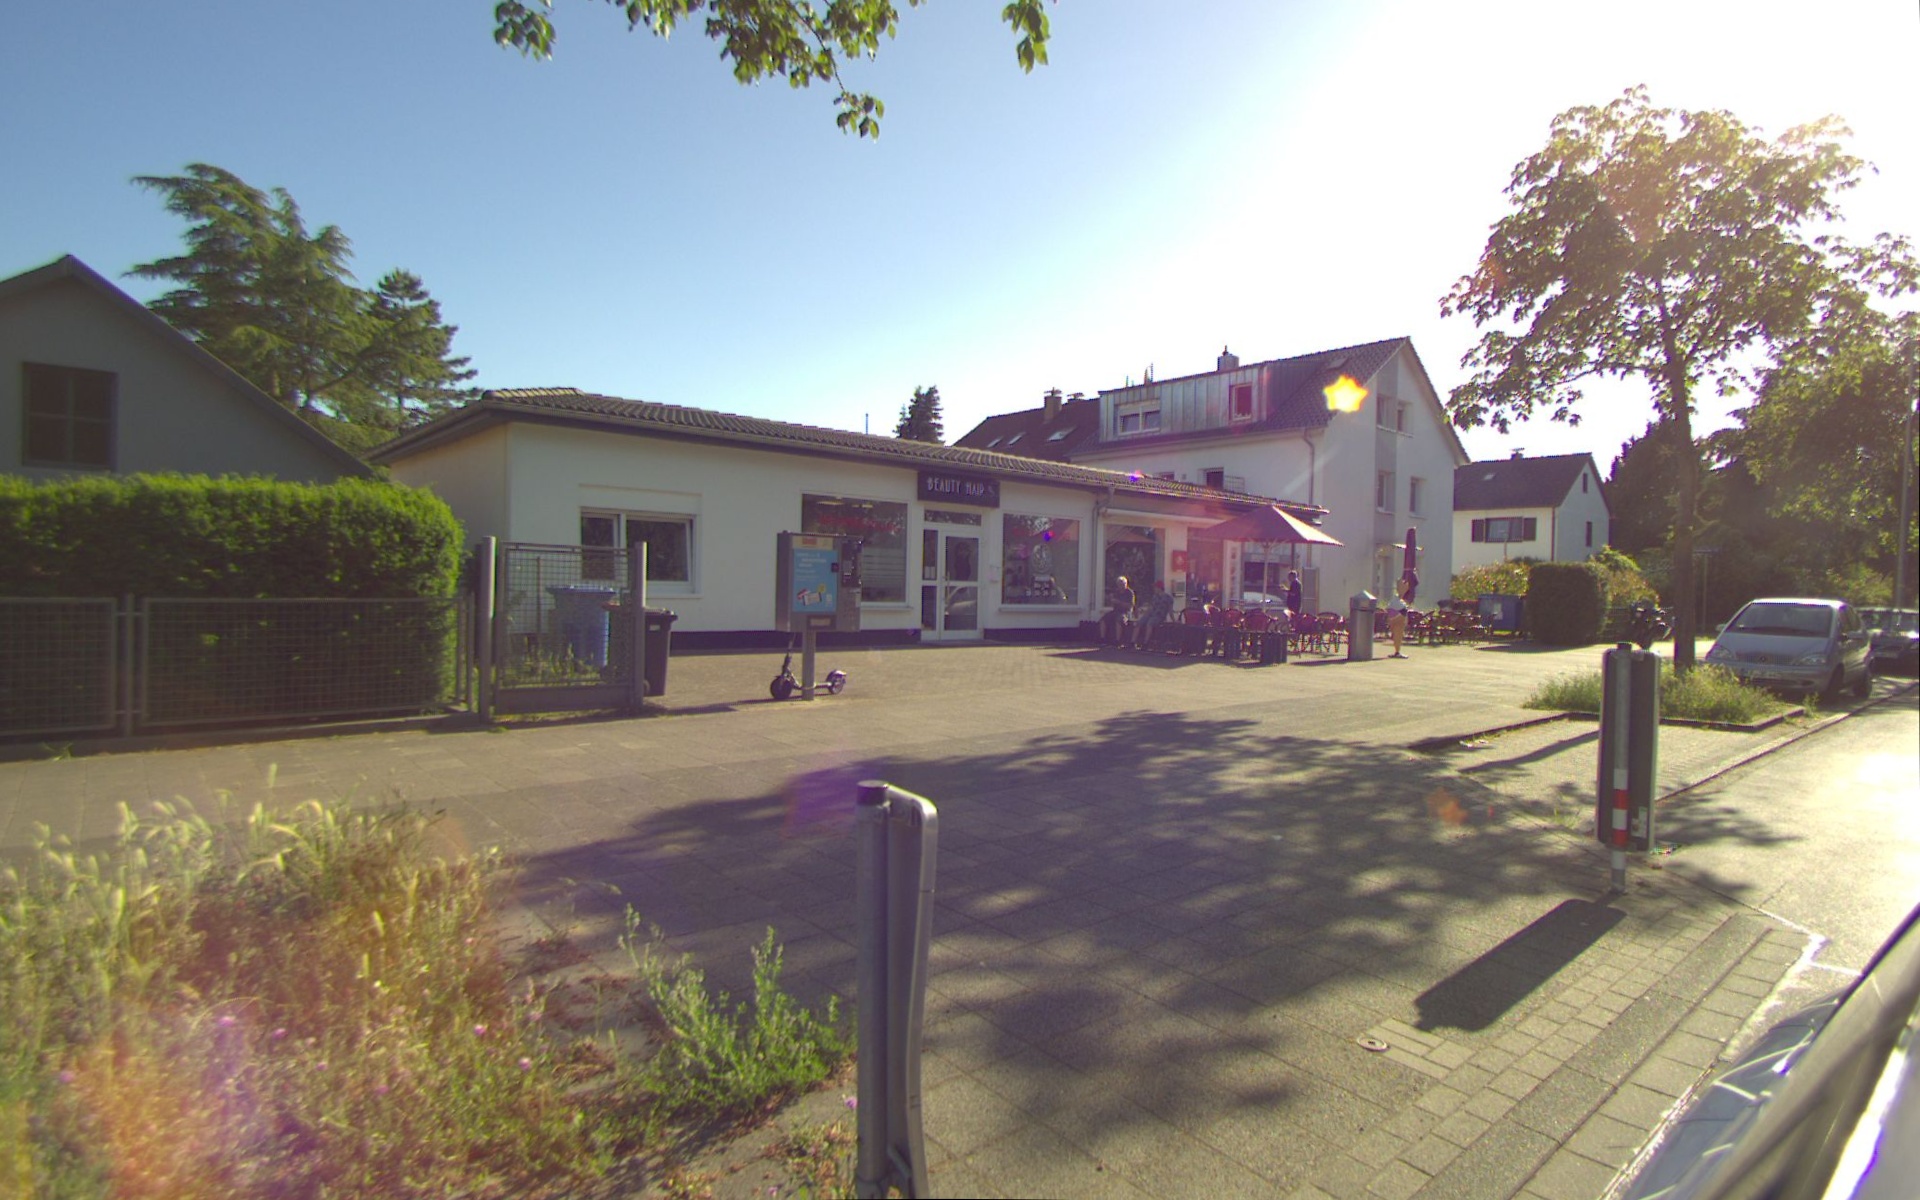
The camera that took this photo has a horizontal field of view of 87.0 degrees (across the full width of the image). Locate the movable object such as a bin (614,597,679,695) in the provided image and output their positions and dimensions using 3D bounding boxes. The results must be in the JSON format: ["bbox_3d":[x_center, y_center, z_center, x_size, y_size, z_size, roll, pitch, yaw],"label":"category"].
[{"bbox_3d":[-3.363,0.477,10.858,0.517,0.988,0.459,-1,3,-42],"label":"movable object such as a bin"}]

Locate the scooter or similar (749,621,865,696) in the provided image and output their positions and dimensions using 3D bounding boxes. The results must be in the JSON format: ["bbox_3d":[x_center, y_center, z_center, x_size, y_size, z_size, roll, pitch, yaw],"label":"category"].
[{"bbox_3d":[-1.692,0.629,11.249,1.207,0.725,0.450,-1,5,-42],"label":"scooter or similar"}]

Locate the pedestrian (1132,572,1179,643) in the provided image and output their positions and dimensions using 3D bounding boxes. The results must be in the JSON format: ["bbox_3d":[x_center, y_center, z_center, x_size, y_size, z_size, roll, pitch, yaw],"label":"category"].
[{"bbox_3d":[3.832,0.134,19.831,0.564,1.338,0.641,0,4,-40],"label":"pedestrian"}]

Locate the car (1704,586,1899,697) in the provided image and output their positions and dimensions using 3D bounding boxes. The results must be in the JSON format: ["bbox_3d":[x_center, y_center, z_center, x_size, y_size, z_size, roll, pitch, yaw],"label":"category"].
[{"bbox_3d":[14.072,0.603,16.866,3.787,1.596,1.733,0,2,-38],"label":"car"}]

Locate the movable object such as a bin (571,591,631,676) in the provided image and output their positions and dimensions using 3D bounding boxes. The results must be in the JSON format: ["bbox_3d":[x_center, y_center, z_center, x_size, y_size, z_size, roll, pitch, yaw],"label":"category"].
[{"bbox_3d":[-4.192,0.382,11.823,0.517,0.941,0.459,-1,3,-42],"label":"movable object such as a bin"}]

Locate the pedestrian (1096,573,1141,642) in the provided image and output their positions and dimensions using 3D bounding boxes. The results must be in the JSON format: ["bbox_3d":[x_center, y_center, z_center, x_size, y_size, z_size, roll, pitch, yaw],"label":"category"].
[{"bbox_3d":[3.210,0.140,20.510,0.564,1.338,0.641,0,4,-40],"label":"pedestrian"}]

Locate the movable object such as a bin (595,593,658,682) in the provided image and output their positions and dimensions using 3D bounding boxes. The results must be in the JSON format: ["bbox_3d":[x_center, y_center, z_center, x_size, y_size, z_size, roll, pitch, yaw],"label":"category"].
[{"bbox_3d":[-3.704,0.402,11.229,0.517,0.941,0.459,-1,3,-42],"label":"movable object such as a bin"}]

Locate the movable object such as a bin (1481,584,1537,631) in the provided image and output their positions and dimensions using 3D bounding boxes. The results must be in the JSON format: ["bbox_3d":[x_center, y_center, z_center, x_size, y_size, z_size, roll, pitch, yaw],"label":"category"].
[{"bbox_3d":[16.075,0.202,29.624,0.912,1.310,1.171,-1,2,-42],"label":"movable object such as a bin"}]

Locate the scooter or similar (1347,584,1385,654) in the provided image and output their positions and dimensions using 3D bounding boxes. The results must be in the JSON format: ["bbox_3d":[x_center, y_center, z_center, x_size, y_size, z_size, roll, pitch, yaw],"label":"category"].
[{"bbox_3d":[7.814,0.353,19.473,0.454,1.311,0.502,0,2,-44],"label":"scooter or similar"}]

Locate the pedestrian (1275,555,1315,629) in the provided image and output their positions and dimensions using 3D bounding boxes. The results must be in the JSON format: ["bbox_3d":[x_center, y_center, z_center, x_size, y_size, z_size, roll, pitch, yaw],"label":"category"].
[{"bbox_3d":[8.486,-0.197,25.653,0.722,1.831,0.672,0,0,-41],"label":"pedestrian"}]

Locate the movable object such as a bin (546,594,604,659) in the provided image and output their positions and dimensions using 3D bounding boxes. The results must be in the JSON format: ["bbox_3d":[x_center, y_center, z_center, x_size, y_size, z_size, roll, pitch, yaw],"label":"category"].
[{"bbox_3d":[-4.640,0.311,12.197,0.517,0.727,0.459,-1,3,-42],"label":"movable object such as a bin"}]

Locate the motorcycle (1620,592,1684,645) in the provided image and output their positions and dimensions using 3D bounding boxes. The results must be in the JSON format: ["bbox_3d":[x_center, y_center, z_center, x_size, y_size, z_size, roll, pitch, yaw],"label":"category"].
[{"bbox_3d":[17.742,0.449,25.941,2.305,1.270,0.837,-1,0,-42],"label":"motorcycle"}]

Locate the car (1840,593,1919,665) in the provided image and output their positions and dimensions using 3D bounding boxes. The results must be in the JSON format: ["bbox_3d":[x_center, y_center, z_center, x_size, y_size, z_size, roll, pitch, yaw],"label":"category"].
[{"bbox_3d":[21.710,0.634,23.276,3.791,1.500,1.731,1,1,-42],"label":"car"}]
